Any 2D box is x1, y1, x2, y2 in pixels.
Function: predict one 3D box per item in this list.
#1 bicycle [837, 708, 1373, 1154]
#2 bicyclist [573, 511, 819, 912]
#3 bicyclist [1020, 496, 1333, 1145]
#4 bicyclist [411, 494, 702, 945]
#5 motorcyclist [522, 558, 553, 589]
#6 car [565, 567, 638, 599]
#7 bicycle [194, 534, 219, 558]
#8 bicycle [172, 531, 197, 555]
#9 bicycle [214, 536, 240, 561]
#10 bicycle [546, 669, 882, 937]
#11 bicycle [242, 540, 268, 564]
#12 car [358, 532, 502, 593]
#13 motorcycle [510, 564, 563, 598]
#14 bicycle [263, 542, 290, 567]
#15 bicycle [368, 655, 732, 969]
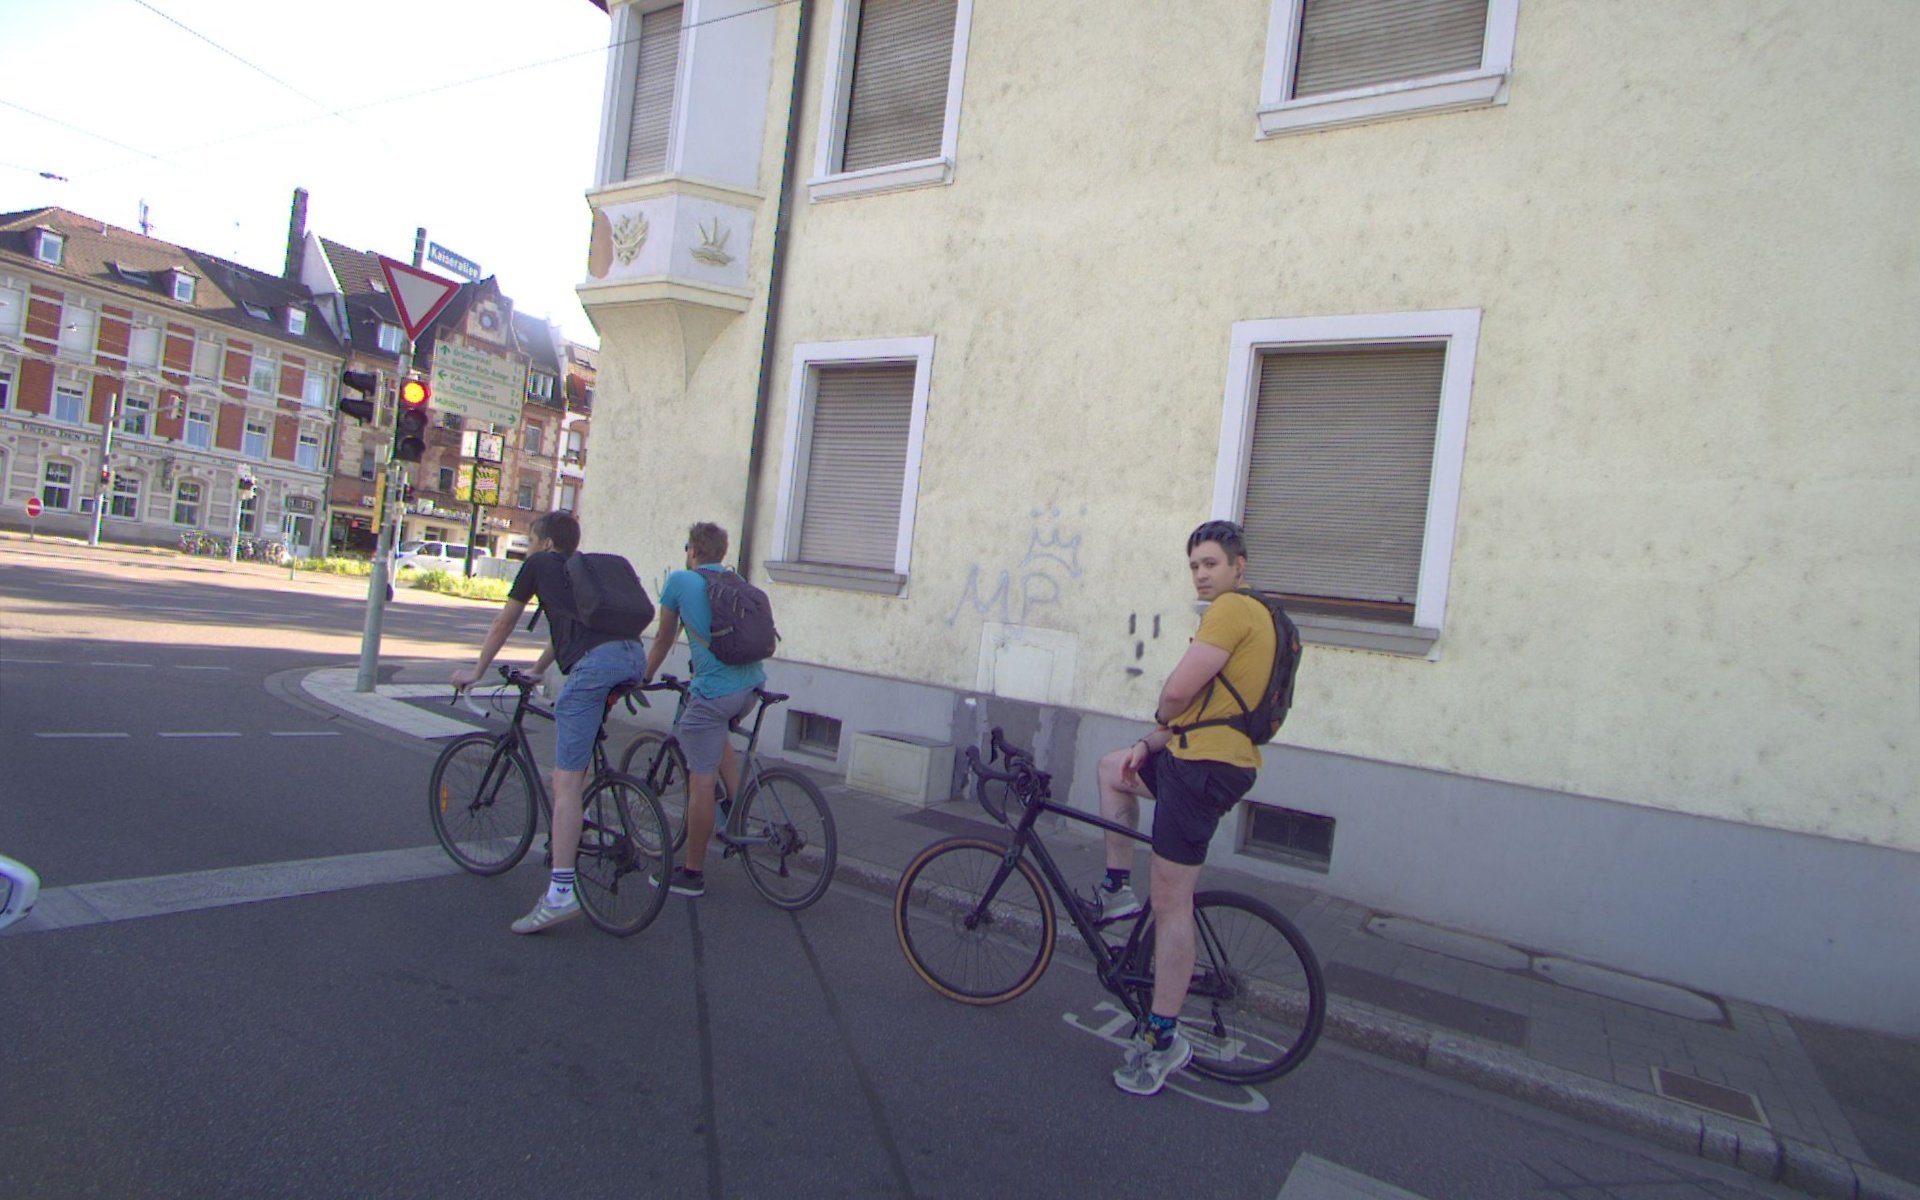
[{"bbox_3d":[0.542,1.111,3.806,1.709,1.119,0.783,7,-1,18],"label":"bicycle"},{"bbox_3d":[-1.373,0.528,5.226,0.960,1.868,0.504,6,-1,32],"label":"bicyclist"},{"bbox_3d":[0.806,0.708,3.659,0.763,1.990,0.783,7,0,18],"label":"bicyclist"},{"bbox_3d":[-1.813,0.479,4.530,0.920,1.787,0.590,6,-1,32],"label":"bicyclist"},{"bbox_3d":[-20.383,-1.257,48.535,0.777,1.315,1.015,6,-2,36],"label":"motorcyclist"},{"bbox_3d":[-23.163,-1.085,65.121,1.842,1.454,3.985,6,-2,35],"label":"car"},{"bbox_3d":[-34.761,-2.501,46.396,0.762,0.979,2.186,8,-2,-39],"label":"bicycle"},{"bbox_3d":[-35.363,-2.602,45.872,0.762,0.974,2.186,8,-2,-39],"label":"bicycle"},{"bbox_3d":[-34.264,-2.411,47.019,0.762,0.995,2.186,8,-2,-39],"label":"bicycle"},{"bbox_3d":[-1.316,0.972,5.219,1.753,0.995,0.504,6,-1,32],"label":"bicycle"},{"bbox_3d":[-33.598,-2.298,47.944,0.762,1.019,2.196,8,-2,-39],"label":"bicycle"},{"bbox_3d":[-23.228,-1.607,44.338,1.967,1.876,5.208,7,-1,32],"label":"car"},{"bbox_3d":[-20.420,-0.909,48.536,0.784,1.349,2.137,6,-2,36],"label":"motorcycle"},{"bbox_3d":[-33.019,-2.196,48.615,0.789,1.027,2.186,8,-2,-39],"label":"bicycle"},{"bbox_3d":[-1.901,0.867,4.551,1.753,1.003,0.482,6,-1,32],"label":"bicycle"}]
